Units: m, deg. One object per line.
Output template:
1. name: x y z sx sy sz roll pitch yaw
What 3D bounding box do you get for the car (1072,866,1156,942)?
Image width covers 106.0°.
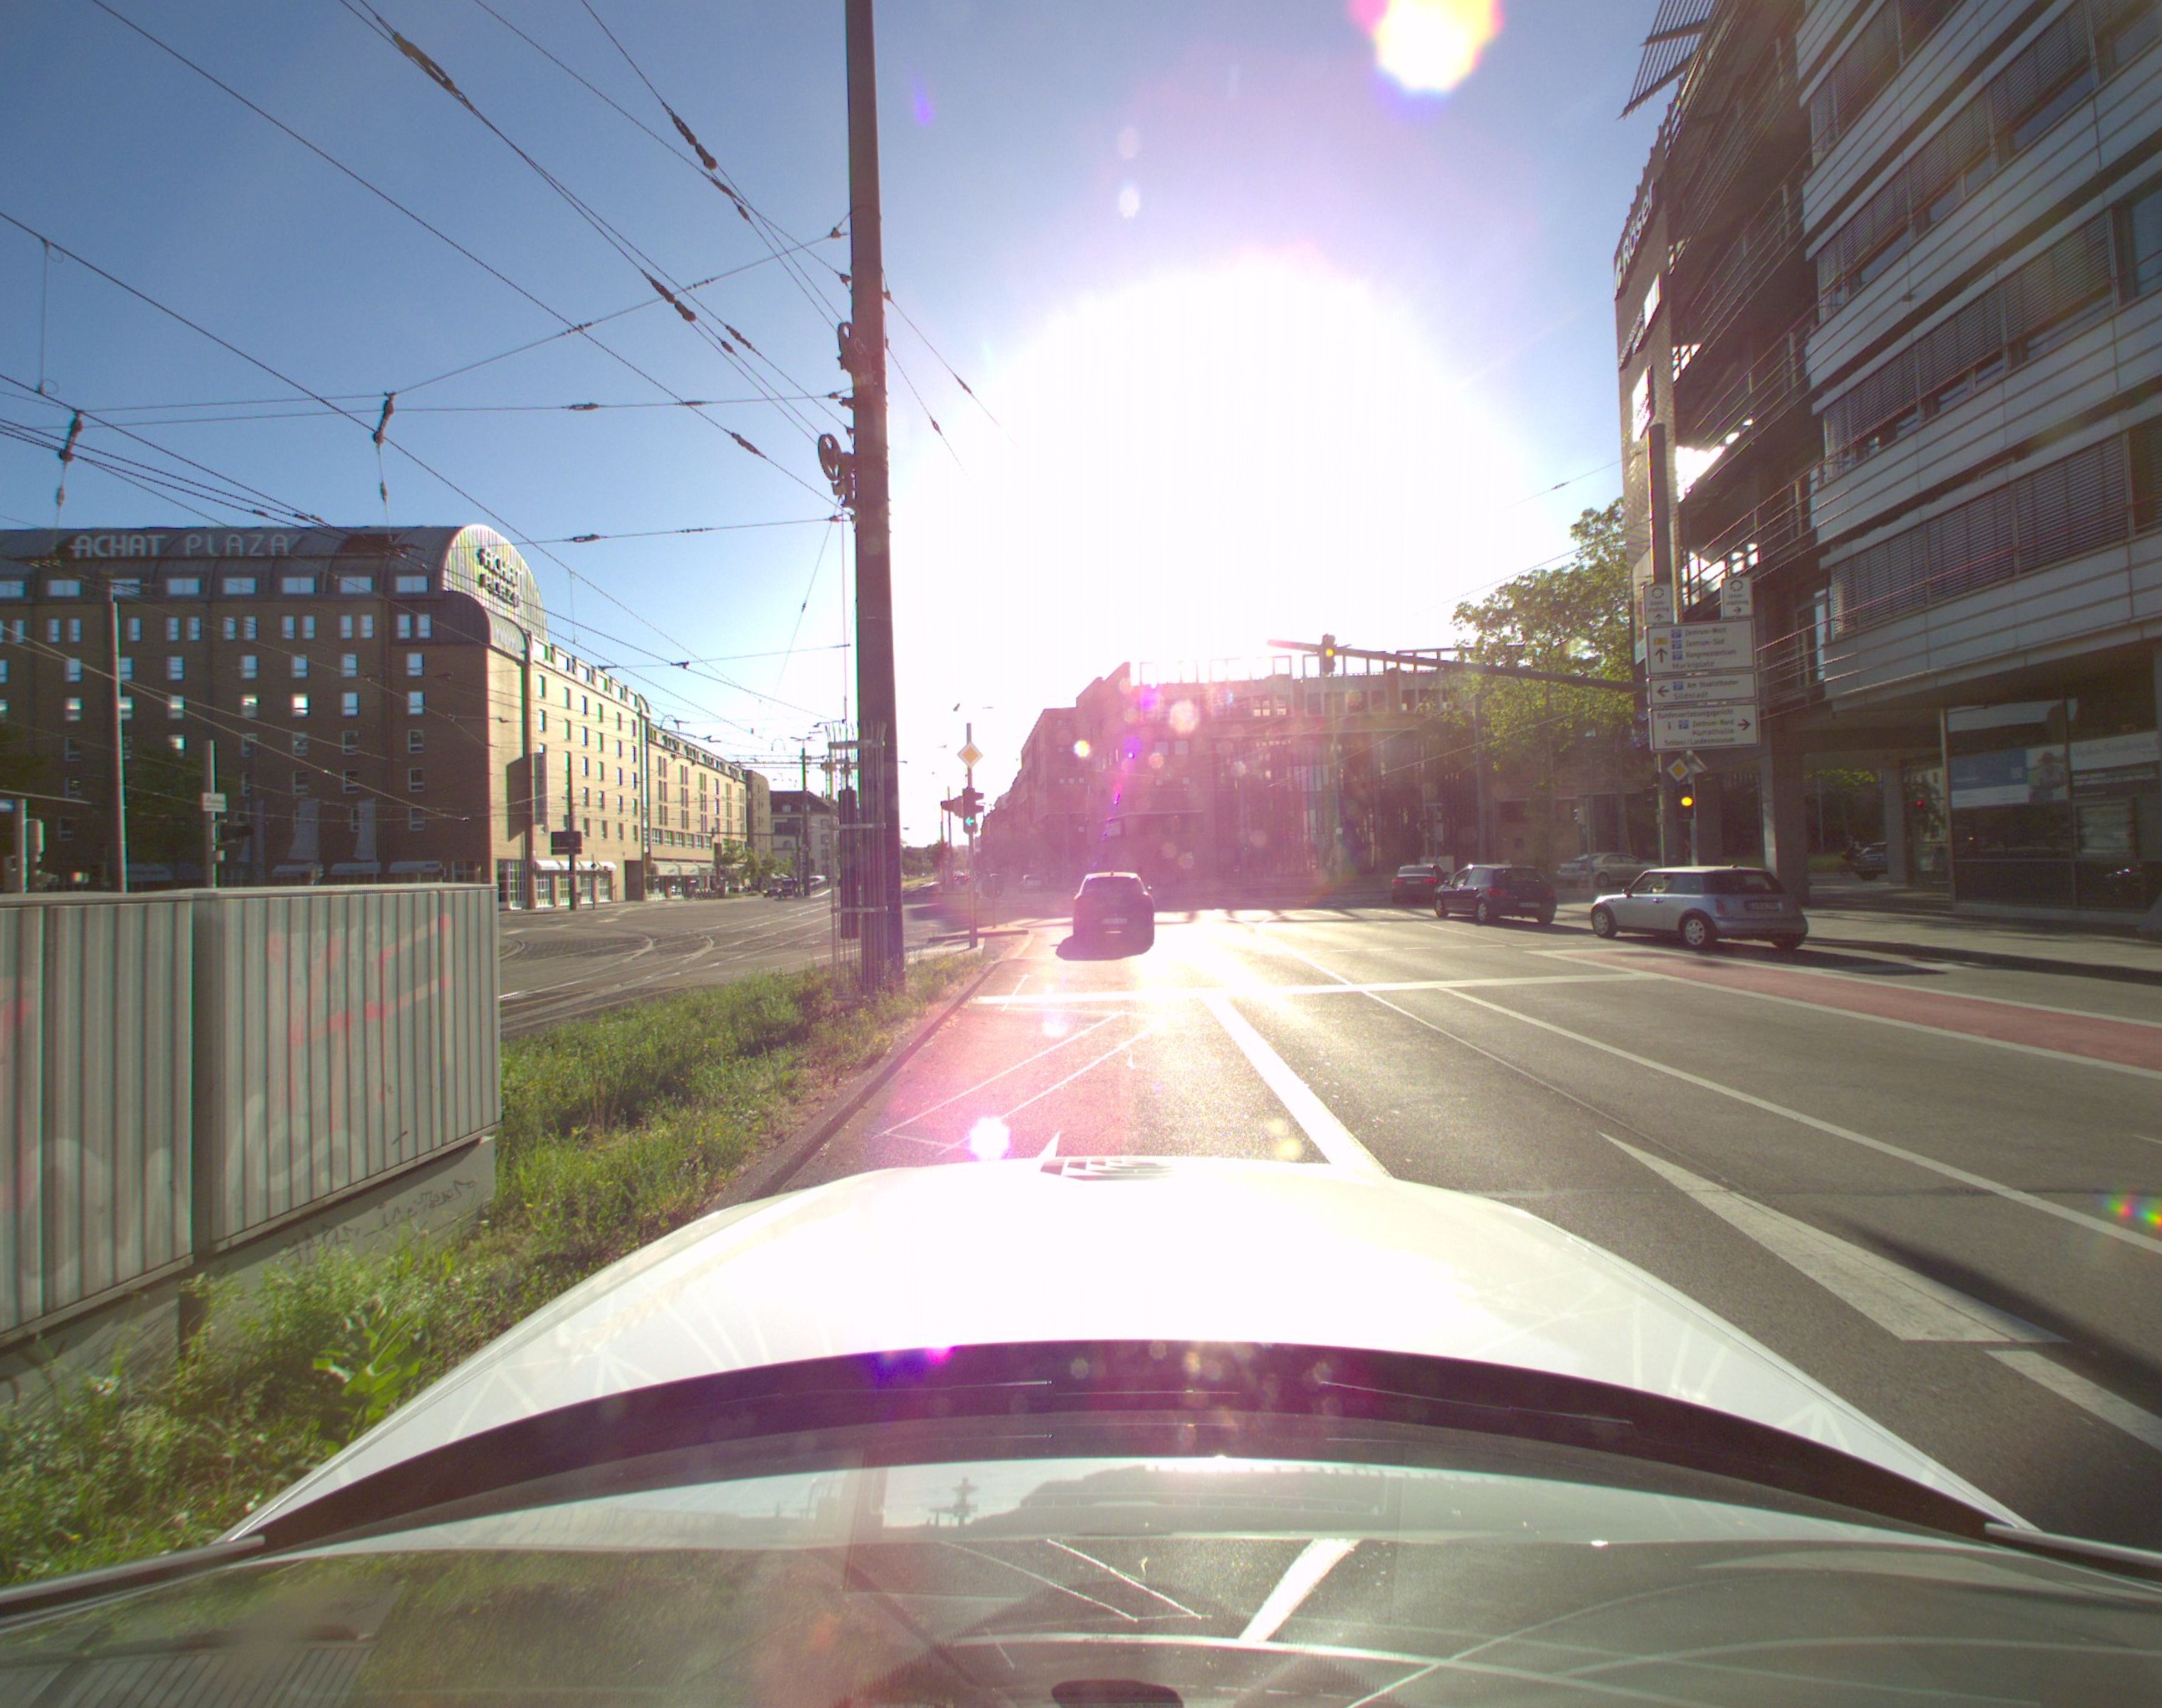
1. car: 0.726 1.021 18.077 1.665 1.502 3.692 -1 -1 2

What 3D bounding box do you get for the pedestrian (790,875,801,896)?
1. pedestrian: -23.931 2.659 68.185 0.720 1.727 0.593 -2 -1 -8

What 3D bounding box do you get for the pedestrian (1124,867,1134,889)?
1. pedestrian: 3.878 1.928 65.663 0.573 1.786 0.546 -2 -1 -17

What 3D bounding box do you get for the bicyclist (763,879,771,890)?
1. bicyclist: -41.012 4.006 106.398 0.810 1.377 0.922 -2 -1 -10

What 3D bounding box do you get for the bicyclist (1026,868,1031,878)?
1. bicyclist: -7.831 2.810 120.596 0.645 1.339 0.651 -2 -1 -8

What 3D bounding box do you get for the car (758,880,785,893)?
1. car: -32.324 3.383 85.118 1.840 1.268 4.214 -4 -1 -11

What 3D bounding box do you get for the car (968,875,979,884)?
1. car: -18.849 4.379 142.457 1.720 1.453 3.686 -3 -1 -9

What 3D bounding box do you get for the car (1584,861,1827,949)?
1. car: 11.066 0.850 14.767 1.656 1.389 3.535 -1 -1 0

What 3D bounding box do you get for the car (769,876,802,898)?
1. car: -28.029 3.102 77.367 1.837 1.836 4.098 -4 -1 -6

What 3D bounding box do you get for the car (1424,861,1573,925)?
1. car: 10.856 0.958 21.521 1.855 1.475 3.976 -2 -1 0

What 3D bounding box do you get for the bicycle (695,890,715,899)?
1. bicycle: -42.859 4.648 92.828 2.026 0.921 0.483 -3 -1 1

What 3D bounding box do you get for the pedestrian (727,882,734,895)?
1. pedestrian: -47.918 4.722 111.406 0.716 1.764 0.564 -3 -1 -7

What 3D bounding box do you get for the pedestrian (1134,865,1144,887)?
1. pedestrian: 4.779 1.831 67.563 0.573 1.786 0.546 -2 -1 -17

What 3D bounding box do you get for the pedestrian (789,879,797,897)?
1. pedestrian: -24.730 2.928 70.022 0.583 1.577 0.642 -1 -2 -22

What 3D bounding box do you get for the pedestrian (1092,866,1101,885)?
1. pedestrian: 1.498 2.038 78.504 0.639 1.786 0.687 -3 -1 -6

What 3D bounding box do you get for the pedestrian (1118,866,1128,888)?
1. pedestrian: 3.443 1.894 66.332 0.573 1.786 0.546 -2 -1 -17

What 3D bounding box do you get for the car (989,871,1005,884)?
1. car: -10.008 2.740 96.767 1.670 1.453 3.686 -3 -1 -9

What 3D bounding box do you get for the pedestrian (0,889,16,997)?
1. pedestrian: -19.214 1.570 14.056 0.729 1.870 0.673 -2 -1 -1

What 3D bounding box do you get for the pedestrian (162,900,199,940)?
1. pedestrian: -40.642 2.965 36.768 0.713 1.680 0.829 -2 0 -7

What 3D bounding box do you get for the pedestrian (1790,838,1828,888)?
1. pedestrian: 25.533 0.328 28.567 0.786 1.734 0.588 -1 -1 10

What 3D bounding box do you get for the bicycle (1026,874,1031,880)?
1. bicycle: -7.797 3.393 120.568 0.648 0.904 2.339 -2 -1 -7

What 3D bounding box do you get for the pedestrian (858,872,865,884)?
1. pedestrian: -30.784 3.418 114.344 0.863 1.670 0.779 -1 0 -19

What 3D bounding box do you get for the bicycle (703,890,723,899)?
1. bicycle: -42.454 4.631 93.990 2.026 0.921 0.483 -3 -1 1

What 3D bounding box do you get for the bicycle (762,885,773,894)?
1. bicycle: -41.003 4.639 106.504 0.810 0.991 2.500 -2 -1 -10

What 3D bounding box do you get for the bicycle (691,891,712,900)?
1. bicycle: -42.600 4.638 91.449 2.026 0.845 0.483 -3 -1 1

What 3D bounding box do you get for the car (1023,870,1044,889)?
1. car: -3.992 2.123 67.729 1.558 1.456 3.424 -2 -1 -6

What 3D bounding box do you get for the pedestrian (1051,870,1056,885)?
1. pedestrian: -3.278 2.779 96.587 0.547 1.786 0.572 -2 1 -6

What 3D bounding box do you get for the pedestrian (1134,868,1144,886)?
1. pedestrian: 4.909 1.948 68.668 0.550 1.477 0.568 -2 -1 -27

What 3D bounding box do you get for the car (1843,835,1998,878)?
1. car: 32.470 0.115 31.586 3.948 1.475 1.869 -2 -1 3

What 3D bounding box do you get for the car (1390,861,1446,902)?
1. car: 12.762 1.015 30.724 1.679 1.440 4.042 -2 -2 26

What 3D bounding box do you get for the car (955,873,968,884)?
1. car: -17.327 3.574 118.217 1.720 1.453 3.686 -3 -1 -9

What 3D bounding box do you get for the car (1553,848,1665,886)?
1. car: 22.902 0.550 35.400 3.969 1.475 1.695 -2 -1 -10
